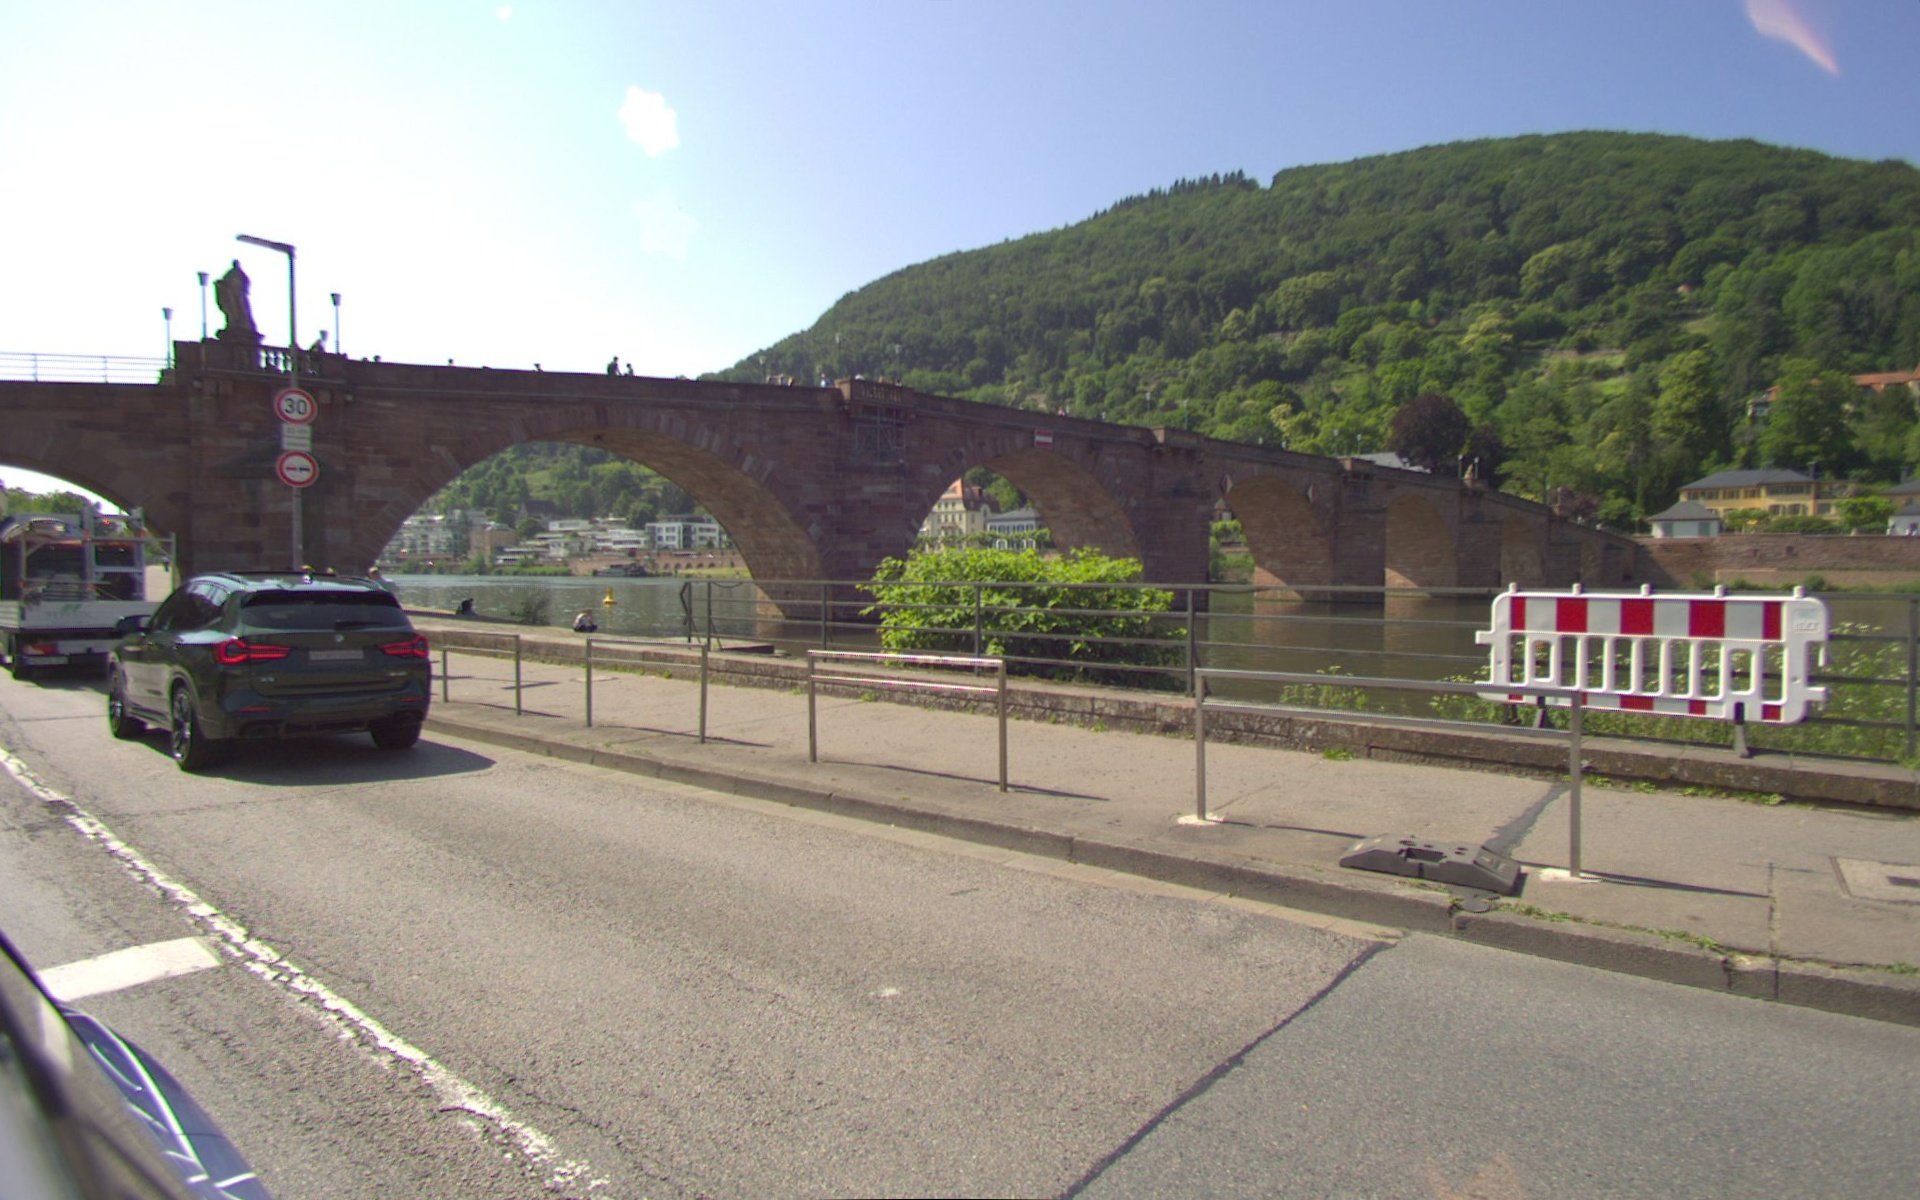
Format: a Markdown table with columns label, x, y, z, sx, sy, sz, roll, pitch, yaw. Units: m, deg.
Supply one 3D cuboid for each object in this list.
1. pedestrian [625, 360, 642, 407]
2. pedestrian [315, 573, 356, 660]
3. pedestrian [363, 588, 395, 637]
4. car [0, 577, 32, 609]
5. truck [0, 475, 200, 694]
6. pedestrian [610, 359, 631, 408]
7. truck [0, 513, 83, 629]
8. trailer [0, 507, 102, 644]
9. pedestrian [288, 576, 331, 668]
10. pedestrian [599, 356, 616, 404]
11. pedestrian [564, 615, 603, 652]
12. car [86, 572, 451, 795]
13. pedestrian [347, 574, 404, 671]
| label | x | y | z | sx | sy | sz | roll | pitch | yaw |
| --- | --- | --- | --- | --- | --- | --- | --- | --- | --- |
| pedestrian | -15.026 | -9.959 | 46.606 | 0.639 | 2.029 | 0.461 | 2 | 1 | 41 |
| pedestrian | -13.186 | 0.339 | 21.393 | 0.535 | 1.806 | 0.824 | -1 | 1 | -18 |
| pedestrian | -20.368 | 0.437 | 35.483 | 0.774 | 1.663 | 0.779 | -1 | 1 | 44 |
| car | -57.429 | -0.444 | 61.155 | 1.851 | 1.841 | 4.551 | 2 | 0 | -41 |
| truck | -16.319 | -0.269 | 18.563 | 7.609 | 3.286 | 2.351 | 1 | 0 | 42 |
| pedestrian | -15.474 | -9.842 | 46.122 | 0.625 | 2.029 | 0.685 | 2 | 1 | 41 |
| truck | -33.020 | -0.942 | 35.960 | 2.493 | 3.777 | 6.252 | 2 | -1 | -43 |
| trailer | -29.194 | -0.674 | 31.879 | 2.494 | 3.671 | 11.540 | 1 | 0 | -44 |
| pedestrian | -13.102 | 0.432 | 20.401 | 0.513 | 1.806 | 0.824 | -1 | 1 | -18 |
| pedestrian | -15.910 | -9.911 | 45.663 | 0.639 | 2.029 | 0.461 | 2 | 1 | 41 |
| pedestrian | -11.969 | 1.061 | 32.151 | 0.954 | 1.139 | 0.832 | 0 | 0 | -40 |
| car | -6.860 | 0.645 | 9.841 | 4.451 | 1.693 | 1.844 | 0 | -1 | 41 |
| pedestrian | -10.706 | 0.393 | 18.557 | 0.538 | 1.735 | 0.755 | 0 | 1 | 8 |
